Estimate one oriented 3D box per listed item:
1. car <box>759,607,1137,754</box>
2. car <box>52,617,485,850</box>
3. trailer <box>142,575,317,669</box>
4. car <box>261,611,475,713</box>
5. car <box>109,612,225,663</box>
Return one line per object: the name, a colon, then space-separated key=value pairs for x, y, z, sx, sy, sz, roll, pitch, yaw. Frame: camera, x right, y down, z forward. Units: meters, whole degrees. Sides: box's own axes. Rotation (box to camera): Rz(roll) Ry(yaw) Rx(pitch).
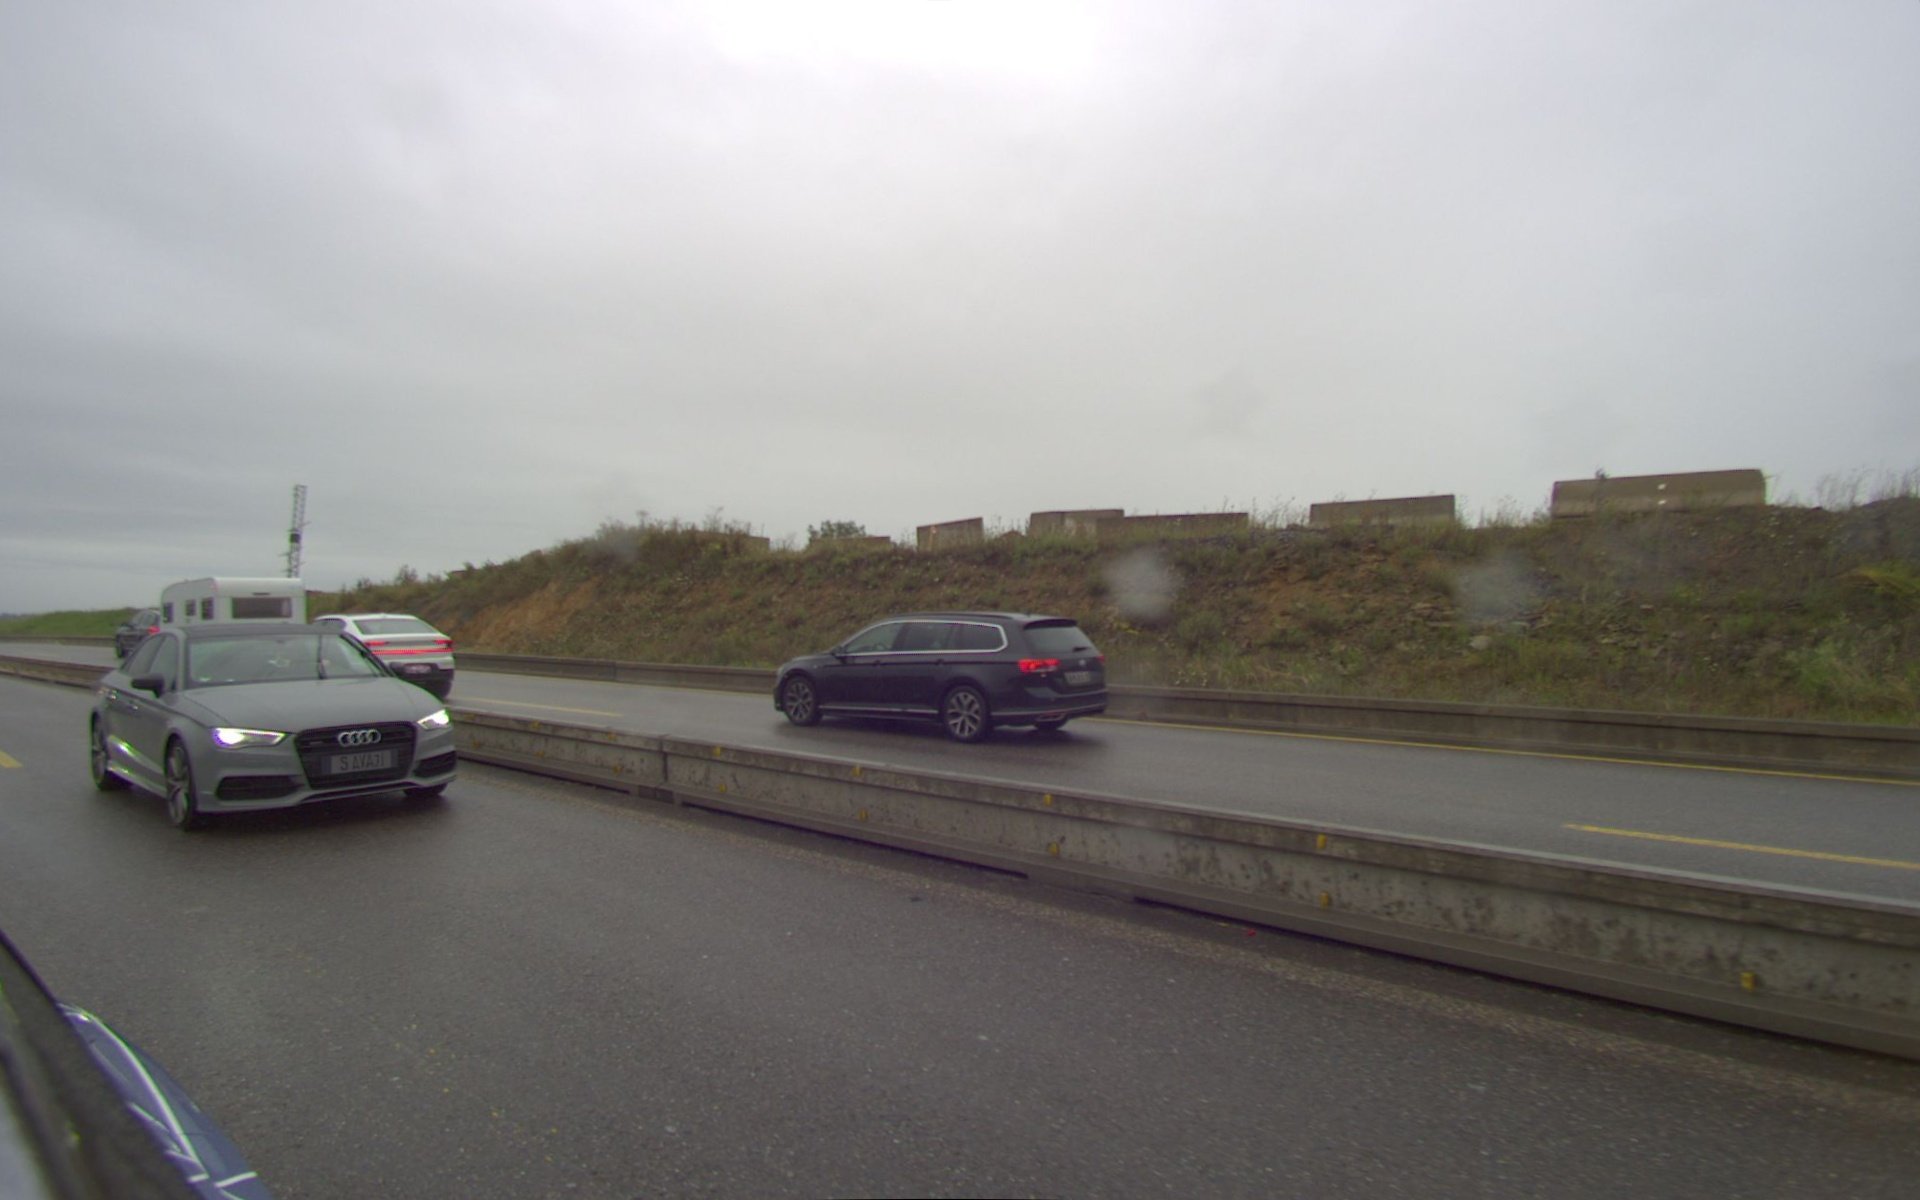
car: x=-0.310 y=0.843 z=12.402 sx=4.669 sy=1.454 sz=1.750 roll=-1 pitch=0 yaw=41
car: x=-5.730 y=0.852 z=8.210 sx=4.082 sy=1.393 sz=1.783 roll=0 pitch=0 yaw=38
trailer: x=-22.524 y=0.648 z=31.058 sx=7.153 sy=2.584 sz=2.486 roll=-1 pitch=0 yaw=39
car: x=-10.312 y=1.031 z=17.500 sx=4.332 sy=1.511 sz=1.858 roll=-3 pitch=-1 yaw=41
car: x=-27.344 y=1.254 z=34.838 sx=5.112 sy=1.598 sz=1.975 roll=-1 pitch=0 yaw=38
